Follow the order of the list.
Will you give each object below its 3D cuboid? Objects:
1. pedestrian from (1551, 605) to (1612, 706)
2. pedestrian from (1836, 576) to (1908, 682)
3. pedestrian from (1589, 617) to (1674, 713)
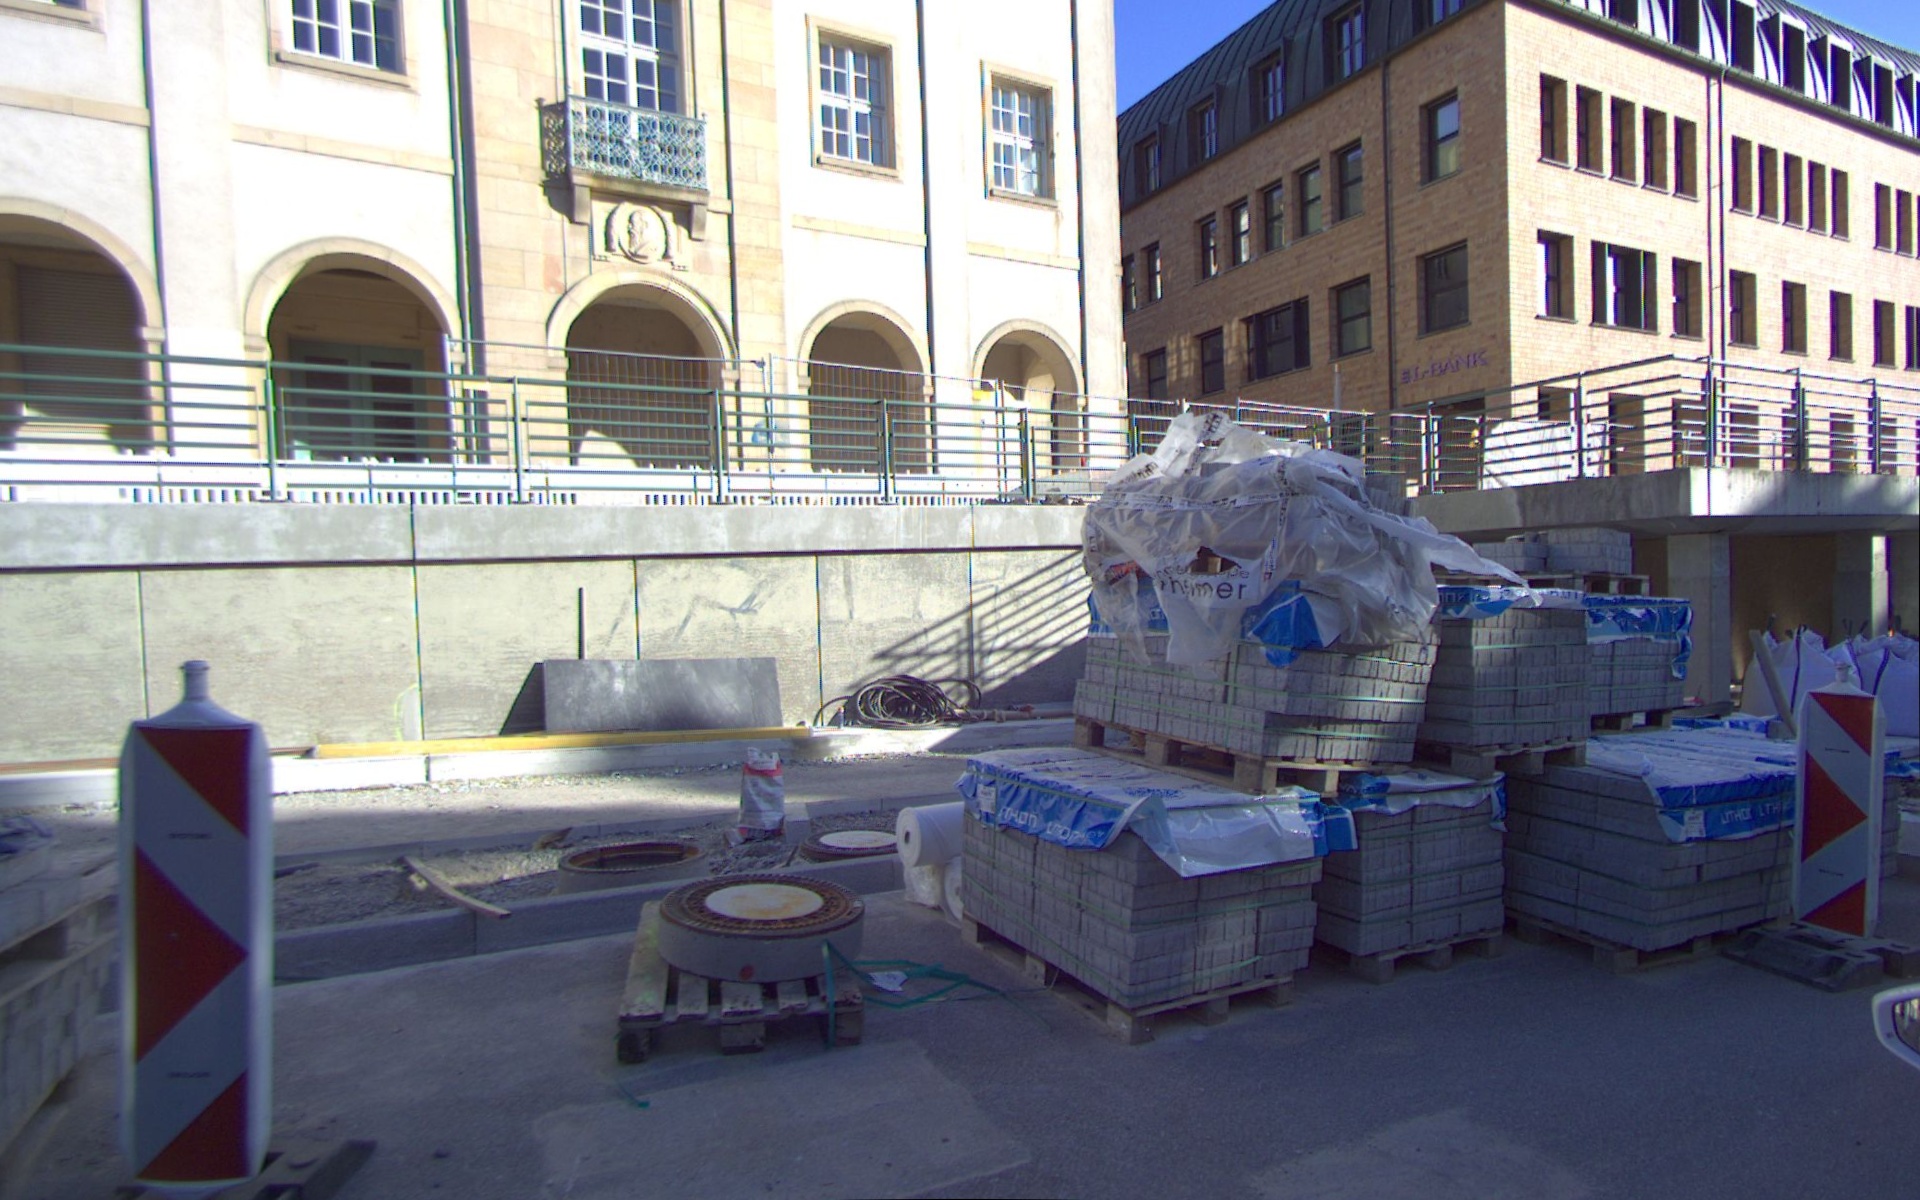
[{"bbox_3d":[10.144,0.883,16.397,0.625,1.601,0.645,1,0,-35],"label":"pedestrian"},{"bbox_3d":[17.576,0.542,19.357,0.924,1.983,0.675,1,1,-26],"label":"pedestrian"},{"bbox_3d":[10.341,0.979,15.471,0.775,1.417,0.866,1,0,-35],"label":"pedestrian"}]
